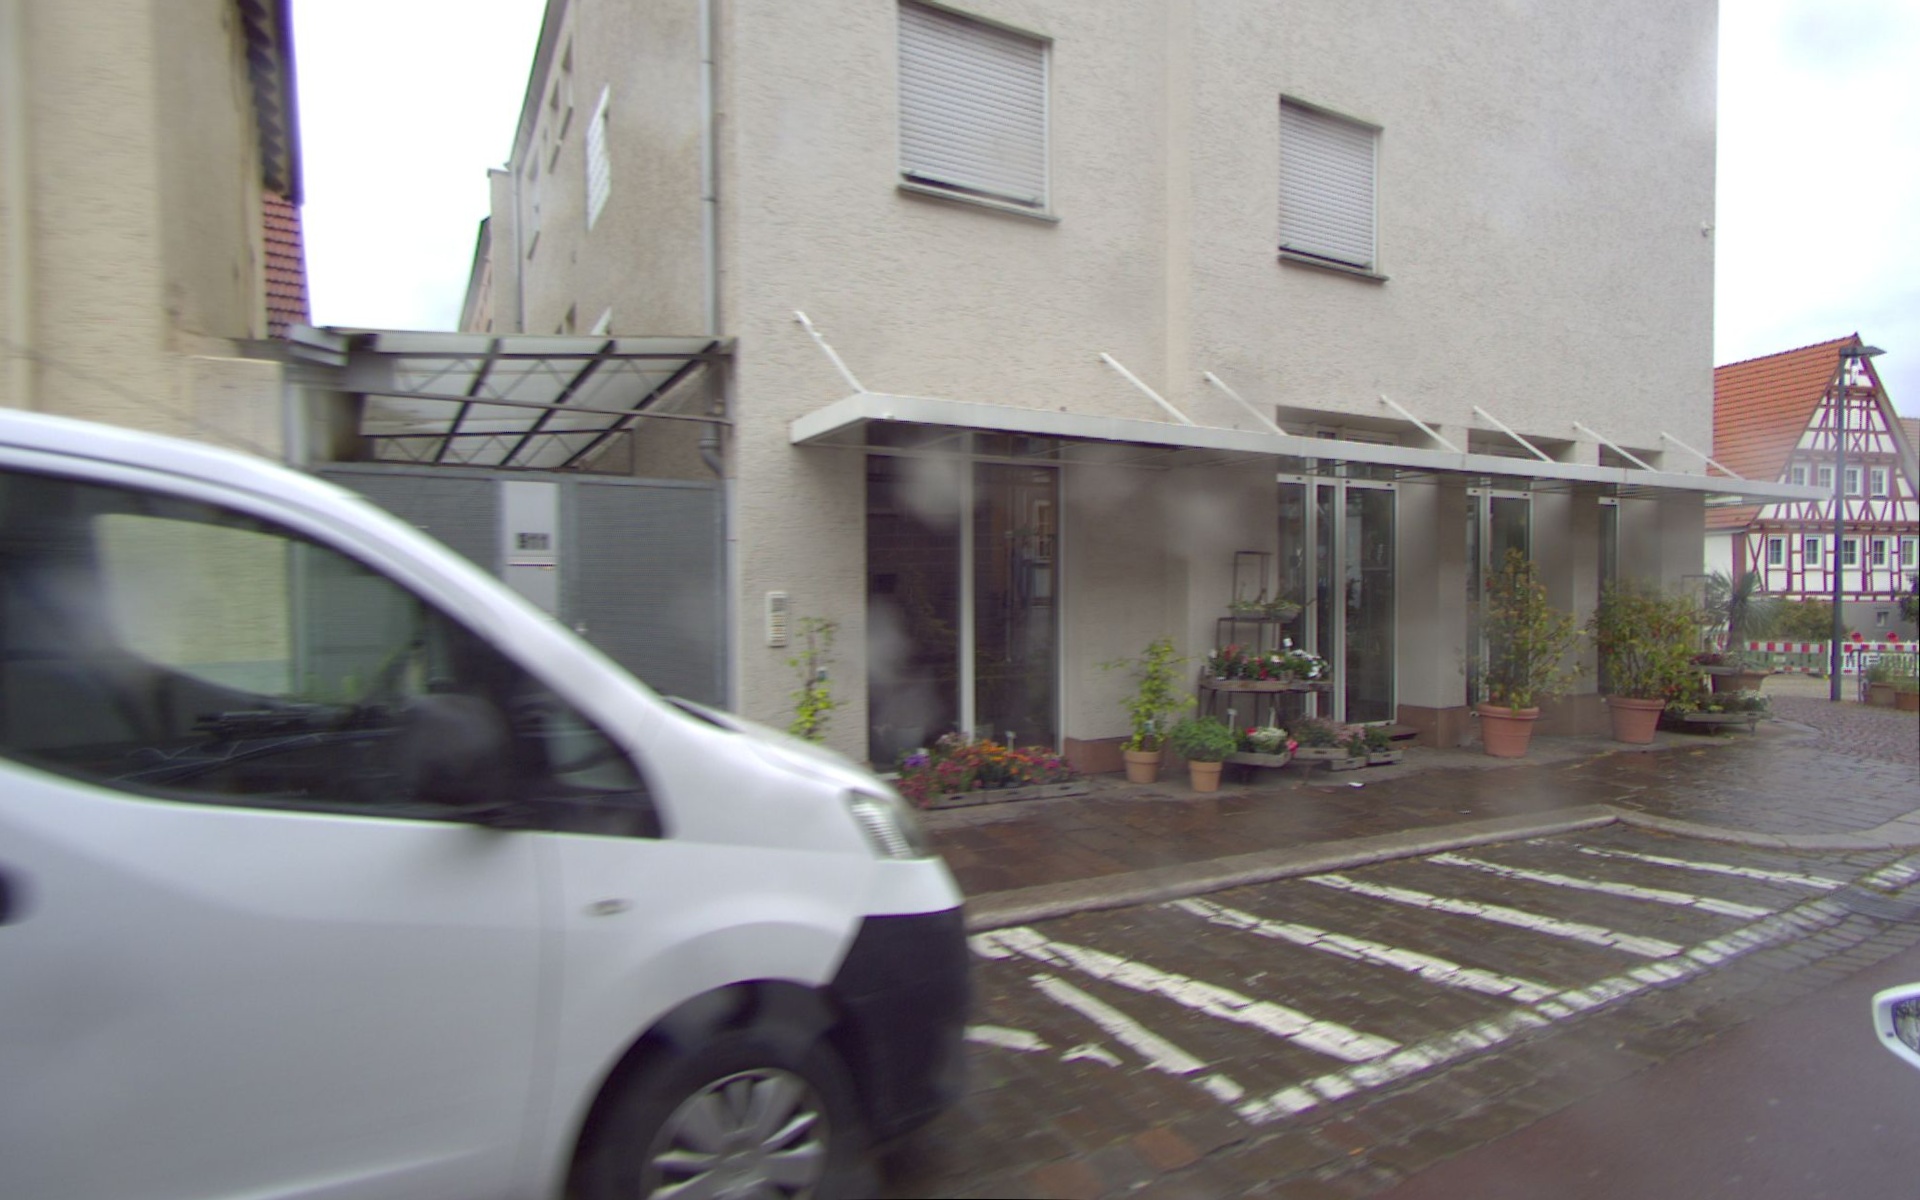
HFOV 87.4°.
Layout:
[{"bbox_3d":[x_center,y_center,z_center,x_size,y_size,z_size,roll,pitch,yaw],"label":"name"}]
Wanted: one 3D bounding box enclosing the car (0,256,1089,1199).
[{"bbox_3d":[-1.989,0.402,2.140,4.379,1.849,1.714,2,0,-32],"label":"car"}]
